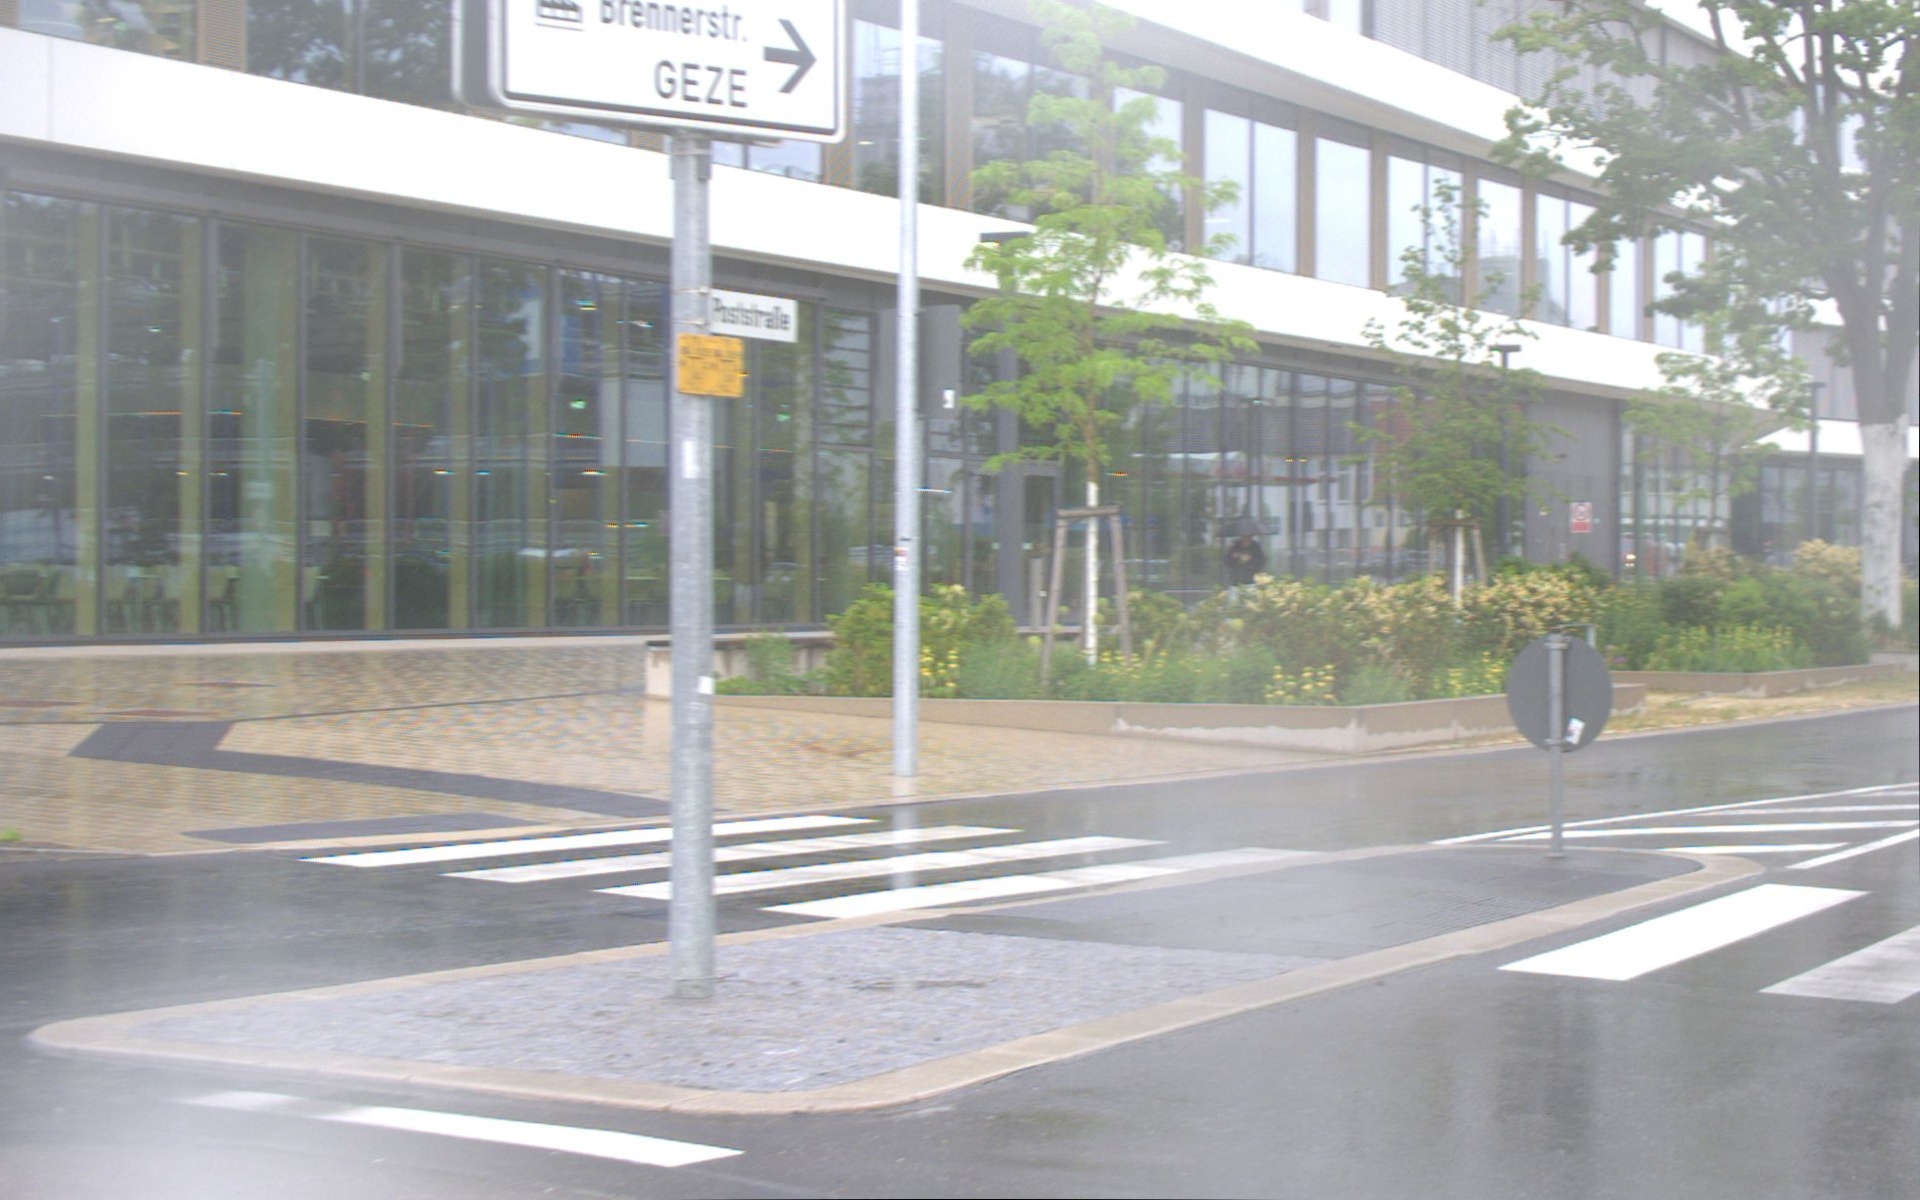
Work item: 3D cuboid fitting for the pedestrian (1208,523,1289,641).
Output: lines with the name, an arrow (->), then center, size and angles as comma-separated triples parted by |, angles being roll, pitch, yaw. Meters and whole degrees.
pedestrian -> 4.311, -0.260, 51.358 | 0.725, 1.698, 0.954 | 5, 2, 33

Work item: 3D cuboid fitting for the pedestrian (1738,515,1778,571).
pedestrian -> 24.822, -1.770, 106.920 | 1.015, 1.718, 0.771 | 1, 2, 27
